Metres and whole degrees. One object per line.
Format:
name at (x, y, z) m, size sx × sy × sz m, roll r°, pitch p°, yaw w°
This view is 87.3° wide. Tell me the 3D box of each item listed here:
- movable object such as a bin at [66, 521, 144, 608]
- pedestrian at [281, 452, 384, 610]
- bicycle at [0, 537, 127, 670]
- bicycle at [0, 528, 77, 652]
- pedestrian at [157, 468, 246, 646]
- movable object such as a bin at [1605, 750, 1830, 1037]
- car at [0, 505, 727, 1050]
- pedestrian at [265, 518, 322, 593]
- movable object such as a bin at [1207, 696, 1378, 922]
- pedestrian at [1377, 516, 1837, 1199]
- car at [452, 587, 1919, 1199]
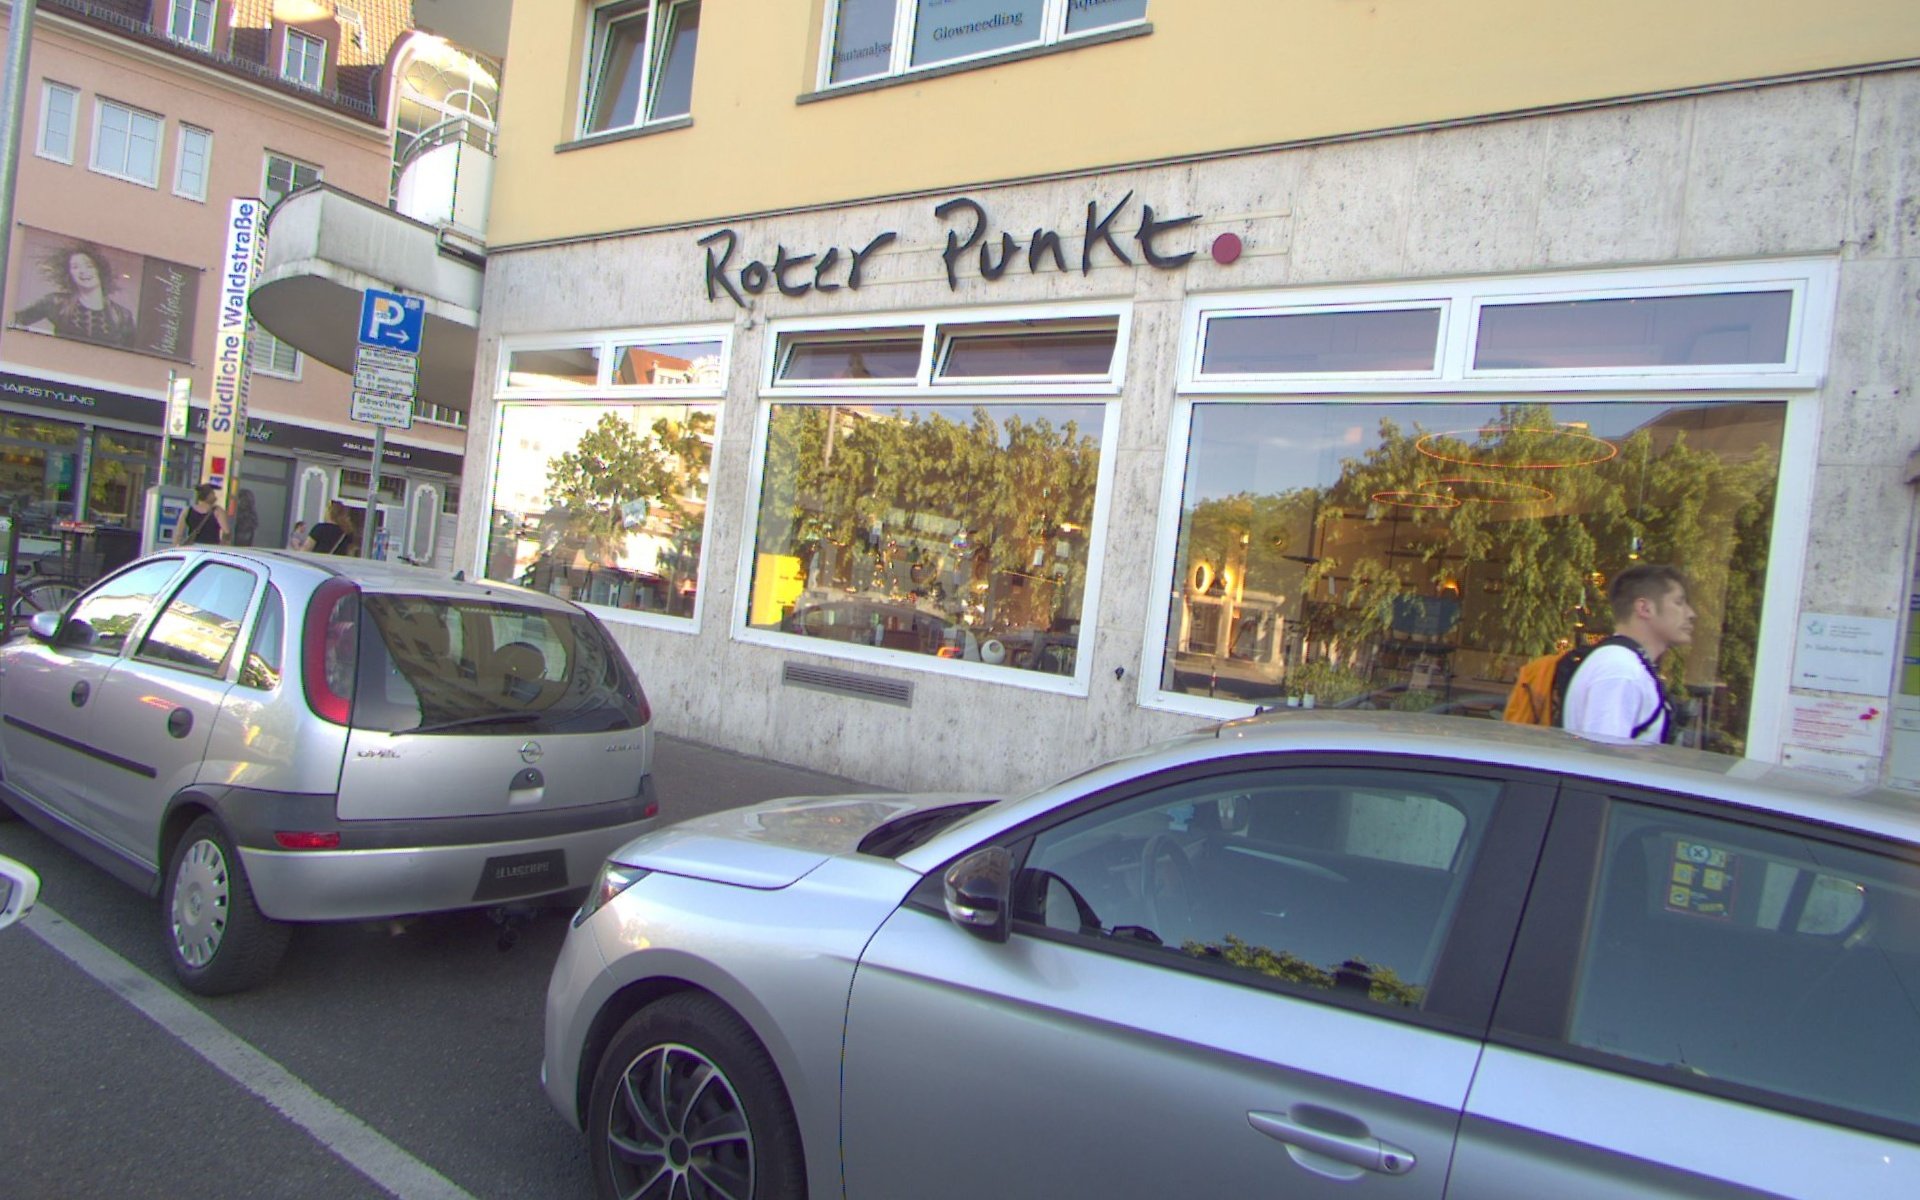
movable object such as a bin at (-11.956, -0.494, 14.069) m, size 0.716 × 1.117 × 0.636 m, roll 7°, pitch 2°, yaw 35°
pedestrian at (-7.503, -0.816, 12.030) m, size 0.775 × 1.777 × 0.720 m, roll 6°, pitch 2°, yaw 36°
bicycle at (-8.164, -0.002, 8.258) m, size 0.642 × 1.057 × 1.884 m, roll 7°, pitch 0°, yaw 33°
bicycle at (-9.055, -0.156, 8.802) m, size 0.642 × 1.072 × 1.816 m, roll 7°, pitch -1°, yaw 33°
pedestrian at (-8.465, -0.469, 11.212) m, size 0.677 × 1.875 × 0.883 m, roll 2°, pitch 3°, yaw -41°
movable object such as a bin at (3.374, 1.260, 4.551) m, size 0.639 × 1.035 × 0.738 m, roll 6°, pitch -1°, yaw 31°
car at (-2.956, 0.478, 4.465) m, size 3.520 × 1.443 × 1.587 m, roll 6°, pitch -2°, yaw 32°
pedestrian at (-15.159, -0.993, 22.885) m, size 0.713 × 1.567 × 0.789 m, roll 7°, pitch -1°, yaw -17°
movable object such as a bin at (1.825, 1.091, 5.481) m, size 0.639 × 1.035 × 0.738 m, roll 6°, pitch -1°, yaw 31°
pedestrian at (2.060, 0.720, 3.292) m, size 0.967 × 1.845 × 0.809 m, roll 6°, pitch 0°, yaw 35°
car at (0.781, 0.938, 2.286) m, size 3.624 × 1.453 × 1.587 m, roll 6°, pitch -2°, yaw 30°
